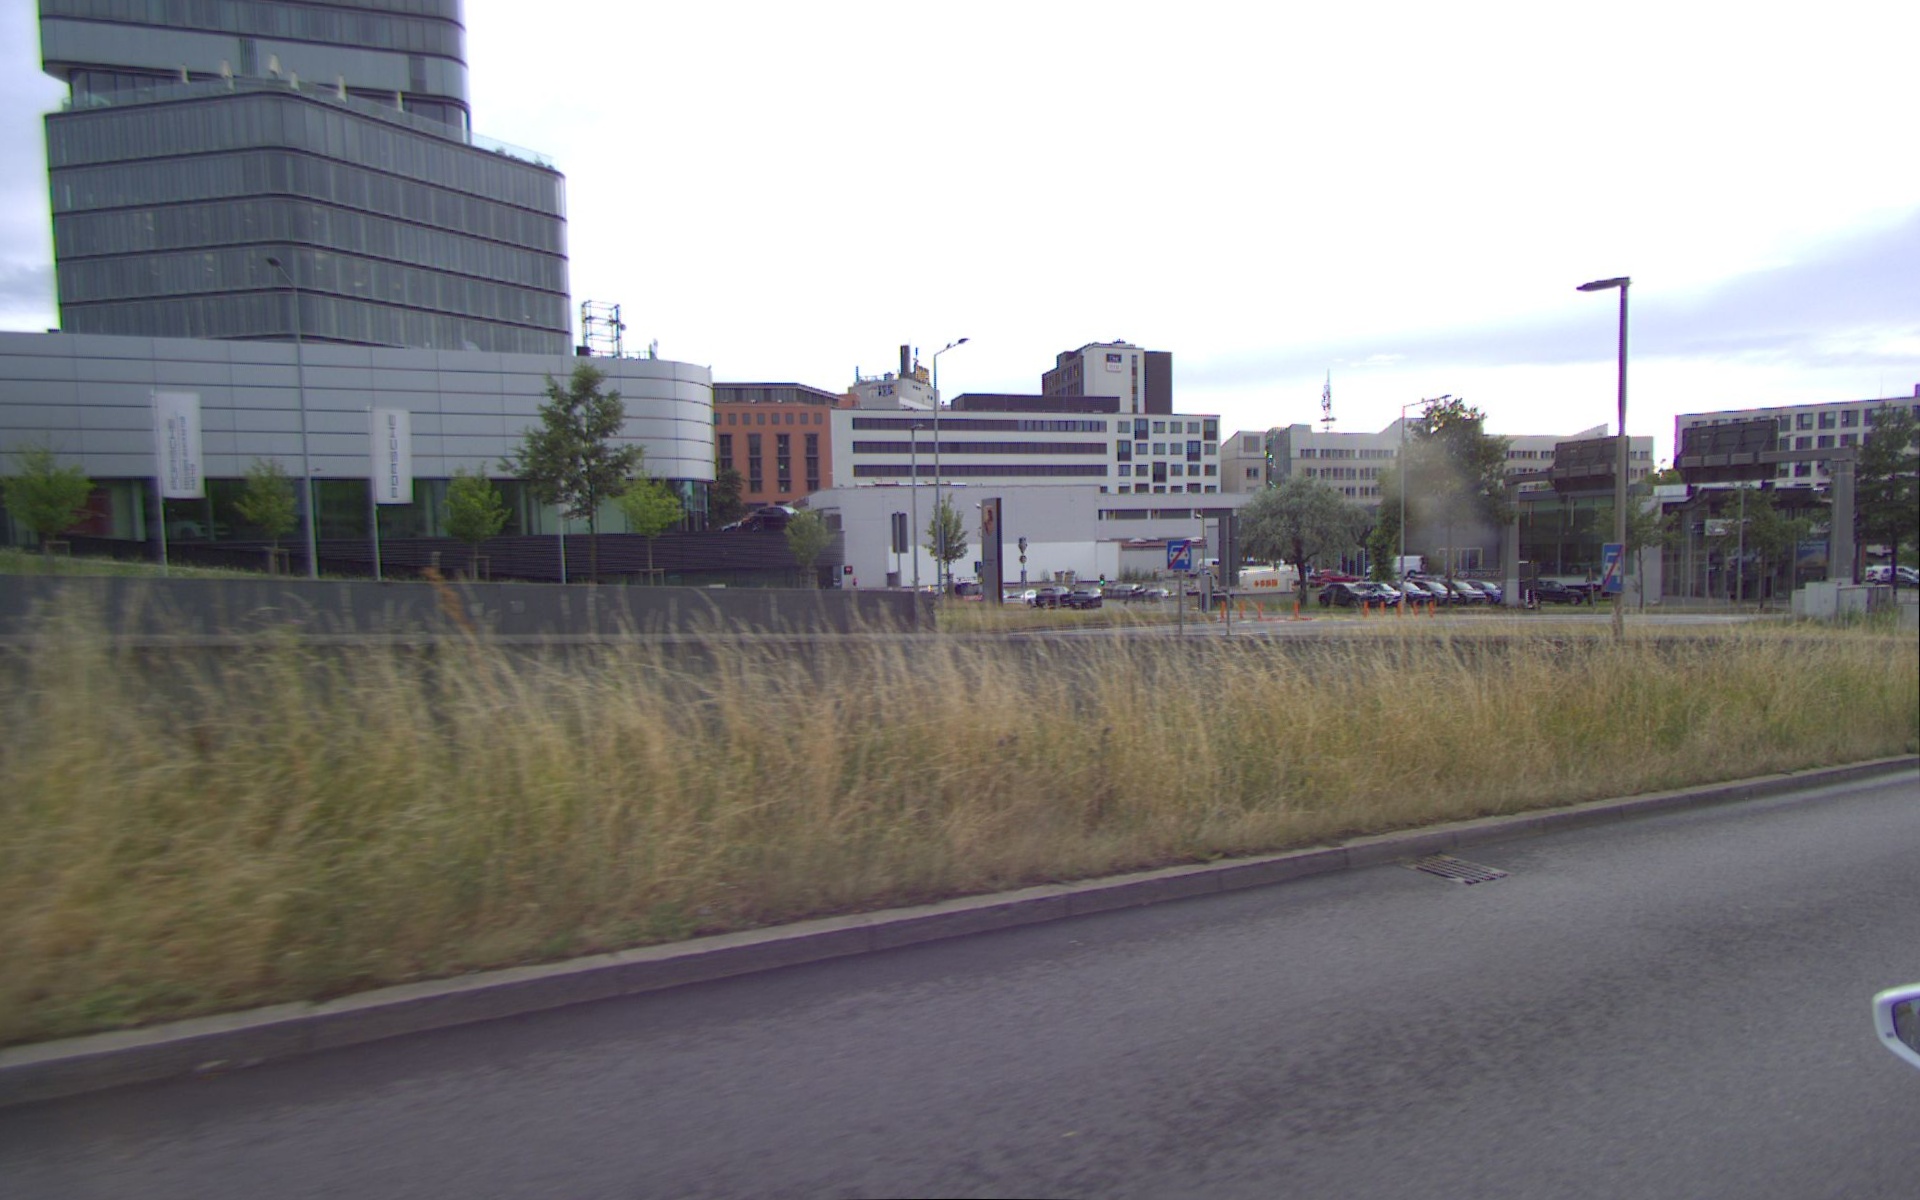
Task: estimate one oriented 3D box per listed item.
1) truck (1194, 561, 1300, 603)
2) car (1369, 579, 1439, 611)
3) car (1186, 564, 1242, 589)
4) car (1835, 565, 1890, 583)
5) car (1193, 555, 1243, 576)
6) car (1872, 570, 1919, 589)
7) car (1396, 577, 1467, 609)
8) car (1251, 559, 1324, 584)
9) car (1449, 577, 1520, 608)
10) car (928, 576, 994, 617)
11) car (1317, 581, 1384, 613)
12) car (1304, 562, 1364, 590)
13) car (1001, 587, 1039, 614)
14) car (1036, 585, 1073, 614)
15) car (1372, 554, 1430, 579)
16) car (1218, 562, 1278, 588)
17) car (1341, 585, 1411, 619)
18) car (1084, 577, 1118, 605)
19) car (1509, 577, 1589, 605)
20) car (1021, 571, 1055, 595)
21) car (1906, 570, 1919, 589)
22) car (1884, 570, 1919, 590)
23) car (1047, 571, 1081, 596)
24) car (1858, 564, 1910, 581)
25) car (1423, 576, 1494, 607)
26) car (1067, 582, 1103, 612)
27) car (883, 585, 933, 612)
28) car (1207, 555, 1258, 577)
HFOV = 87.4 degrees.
[{"bbox_3d":[20.458,-1.327,71.545,7.298,2.563,2.362,-3,6,-20],"label":"truck"},{"bbox_3d":[28.659,-0.367,64.968,1.894,1.707,3.979,-3,6,-21],"label":"car"},{"bbox_3d":[20.320,-1.904,80.272,3.935,1.707,1.915,-2,6,-17],"label":"car"},{"bbox_3d":[99.926,-2.873,111.284,1.972,1.674,3.975,-3,6,-24],"label":"car"},{"bbox_3d":[23.528,-3.142,91.655,3.935,1.707,1.915,-2,6,-17],"label":"car"},{"bbox_3d":[98.365,-2.143,104.992,1.972,1.674,3.975,-3,6,-24],"label":"car"},{"bbox_3d":[30.858,-0.484,65.893,1.894,1.707,3.979,-3,6,-21],"label":"car"},{"bbox_3d":[26.650,-2.299,81.775,5.446,1.907,1.992,0,5,-17],"label":"car"},{"bbox_3d":[35.234,-0.534,67.602,1.894,1.707,3.979,-3,6,-21],"label":"car"},{"bbox_3d":[0.006,-0.293,73.311,2.505,2.524,5.107,-4,6,-32],"label":"car"},{"bbox_3d":[24.548,-0.243,63.292,1.674,1.622,3.992,-3,6,-21],"label":"car"},{"bbox_3d":[28.522,-1.854,76.563,3.935,1.908,1.900,-2,6,-17],"label":"car"},{"bbox_3d":[4.742,0.020,78.764,1.960,1.707,3.998,1,6,19],"label":"car"},{"bbox_3d":[7.349,-0.063,77.976,1.960,1.908,3.998,1,6,19],"label":"car"},{"bbox_3d":[36.198,-2.770,82.440,3.937,1.807,1.915,4,7,38],"label":"car"},{"bbox_3d":[21.579,-1.875,75.370,3.935,1.707,1.915,-2,6,-17],"label":"car"},{"bbox_3d":[26.473,0.097,64.055,1.894,1.707,3.979,-3,6,-21],"label":"car"},{"bbox_3d":[11.470,-0.737,81.442,1.960,1.908,3.998,1,6,19],"label":"car"},{"bbox_3d":[40.641,-0.605,69.382,4.415,1.707,1.921,-1,5,-4],"label":"car"},{"bbox_3d":[6.656,-1.504,85.783,1.960,1.729,3.998,1,6,19],"label":"car"},{"bbox_3d":[103.220,-2.112,106.279,1.968,1.902,3.984,-2,6,-17],"label":"car"},{"bbox_3d":[100.733,-2.081,106.188,1.968,2.041,3.984,0,3,-17],"label":"car"},{"bbox_3d":[8.651,-1.403,83.647,1.960,1.729,3.998,1,6,19],"label":"car"},{"bbox_3d":[105.313,-3.122,114.501,1.796,1.674,3.973,-3,6,-25],"label":"car"},{"bbox_3d":[33.068,-0.585,66.753,1.894,1.707,3.979,-3,6,-21],"label":"car"},{"bbox_3d":[9.523,-0.238,76.398,1.960,1.908,3.998,1,6,19],"label":"car"},{"bbox_3d":[-4.014,-0.157,77.268,1.981,1.707,3.958,-4,7,-36],"label":"car"},{"bbox_3d":[24.278,-3.042,89.446,3.935,1.707,1.915,-2,6,-17],"label":"car"}]
